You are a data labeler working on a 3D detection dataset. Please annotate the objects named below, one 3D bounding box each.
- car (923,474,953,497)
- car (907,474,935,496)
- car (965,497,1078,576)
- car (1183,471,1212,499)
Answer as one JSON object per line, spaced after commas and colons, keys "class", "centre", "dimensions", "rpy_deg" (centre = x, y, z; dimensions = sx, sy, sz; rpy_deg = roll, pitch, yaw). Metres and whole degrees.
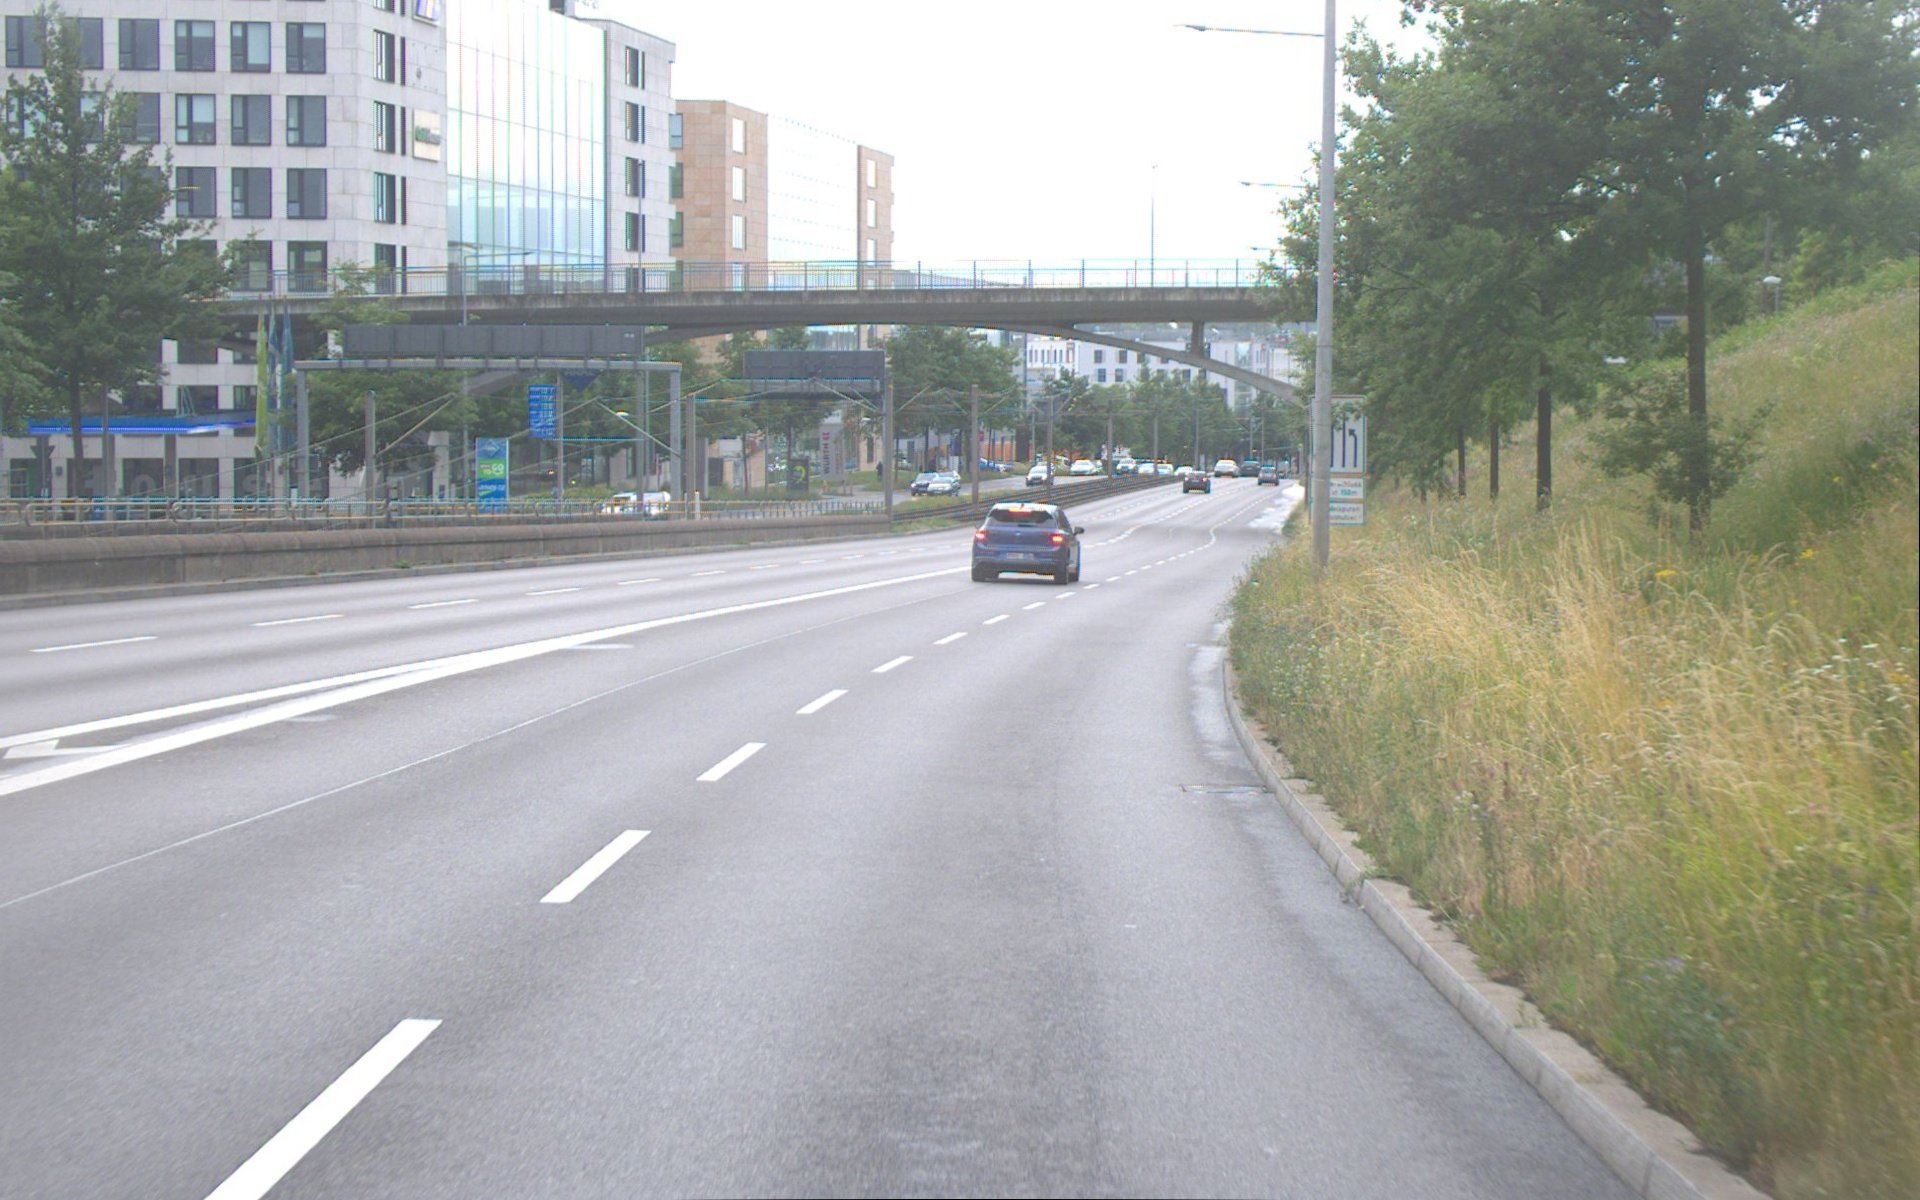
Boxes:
{"class": "car", "centre": [-1.427, -7.373, 220.991], "dimensions": [1.518, 1.415, 3.478], "rpy_deg": [1, 3, 6]}
{"class": "car", "centre": [-2.636, -7.794, 233.519], "dimensions": [1.518, 1.415, 3.478], "rpy_deg": [1, 3, 6]}
{"class": "car", "centre": [1.162, -1.181, 63.550], "dimensions": [1.749, 1.415, 3.477], "rpy_deg": [1, 1, 7]}
{"class": "car", "centre": [17.026, -8.243, 246.671], "dimensions": [1.863, 1.743, 4.001], "rpy_deg": [3, 5, 3]}
